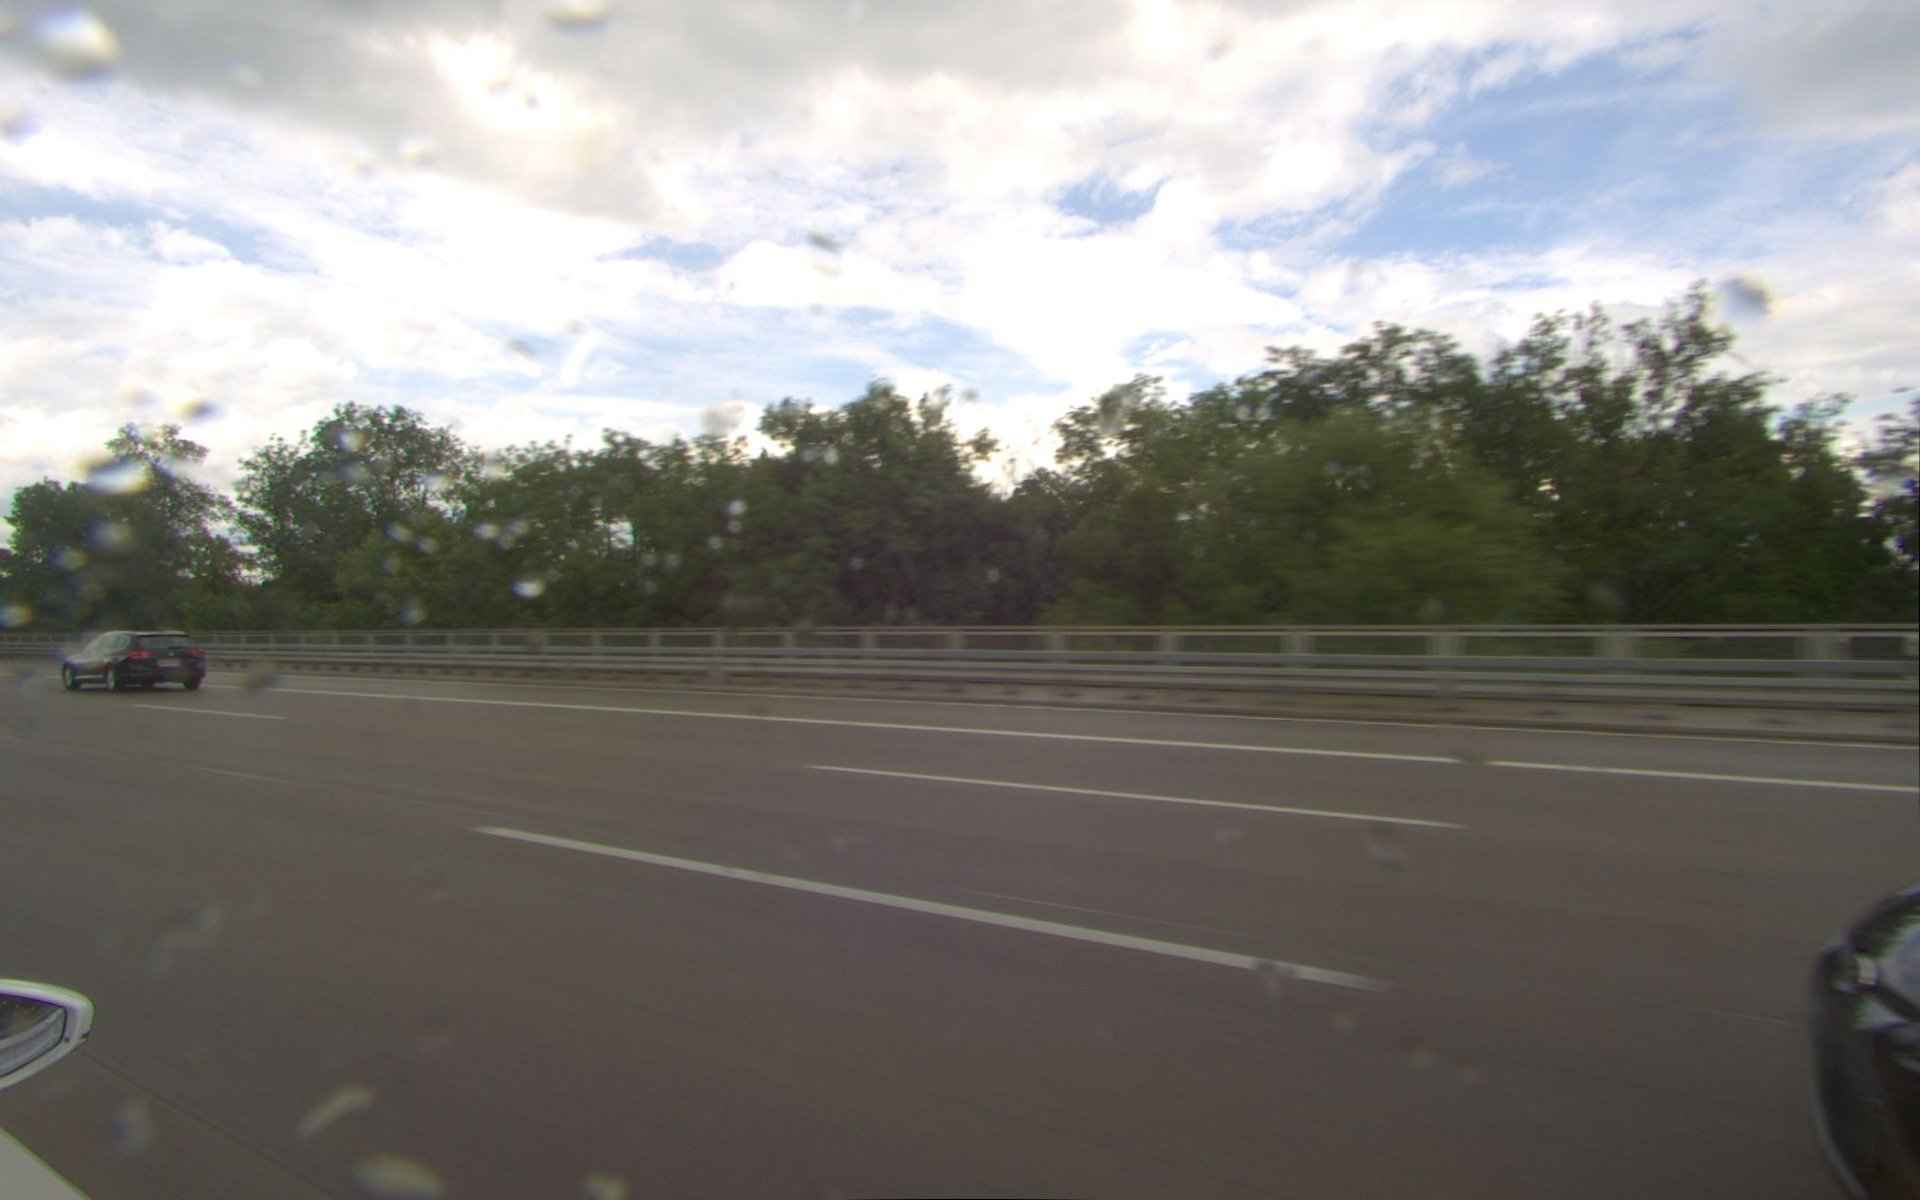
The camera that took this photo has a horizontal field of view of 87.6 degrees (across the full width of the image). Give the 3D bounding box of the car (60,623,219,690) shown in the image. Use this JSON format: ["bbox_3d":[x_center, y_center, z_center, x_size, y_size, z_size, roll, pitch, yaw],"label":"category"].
[{"bbox_3d":[-20.729,1.363,25.251,4.294,1.563,1.812,-1,-1,32],"label":"car"}]

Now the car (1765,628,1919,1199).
[{"bbox_3d":[3.850,0.771,1.151,4.340,1.458,1.661,-1,-1,31],"label":"car"}]
